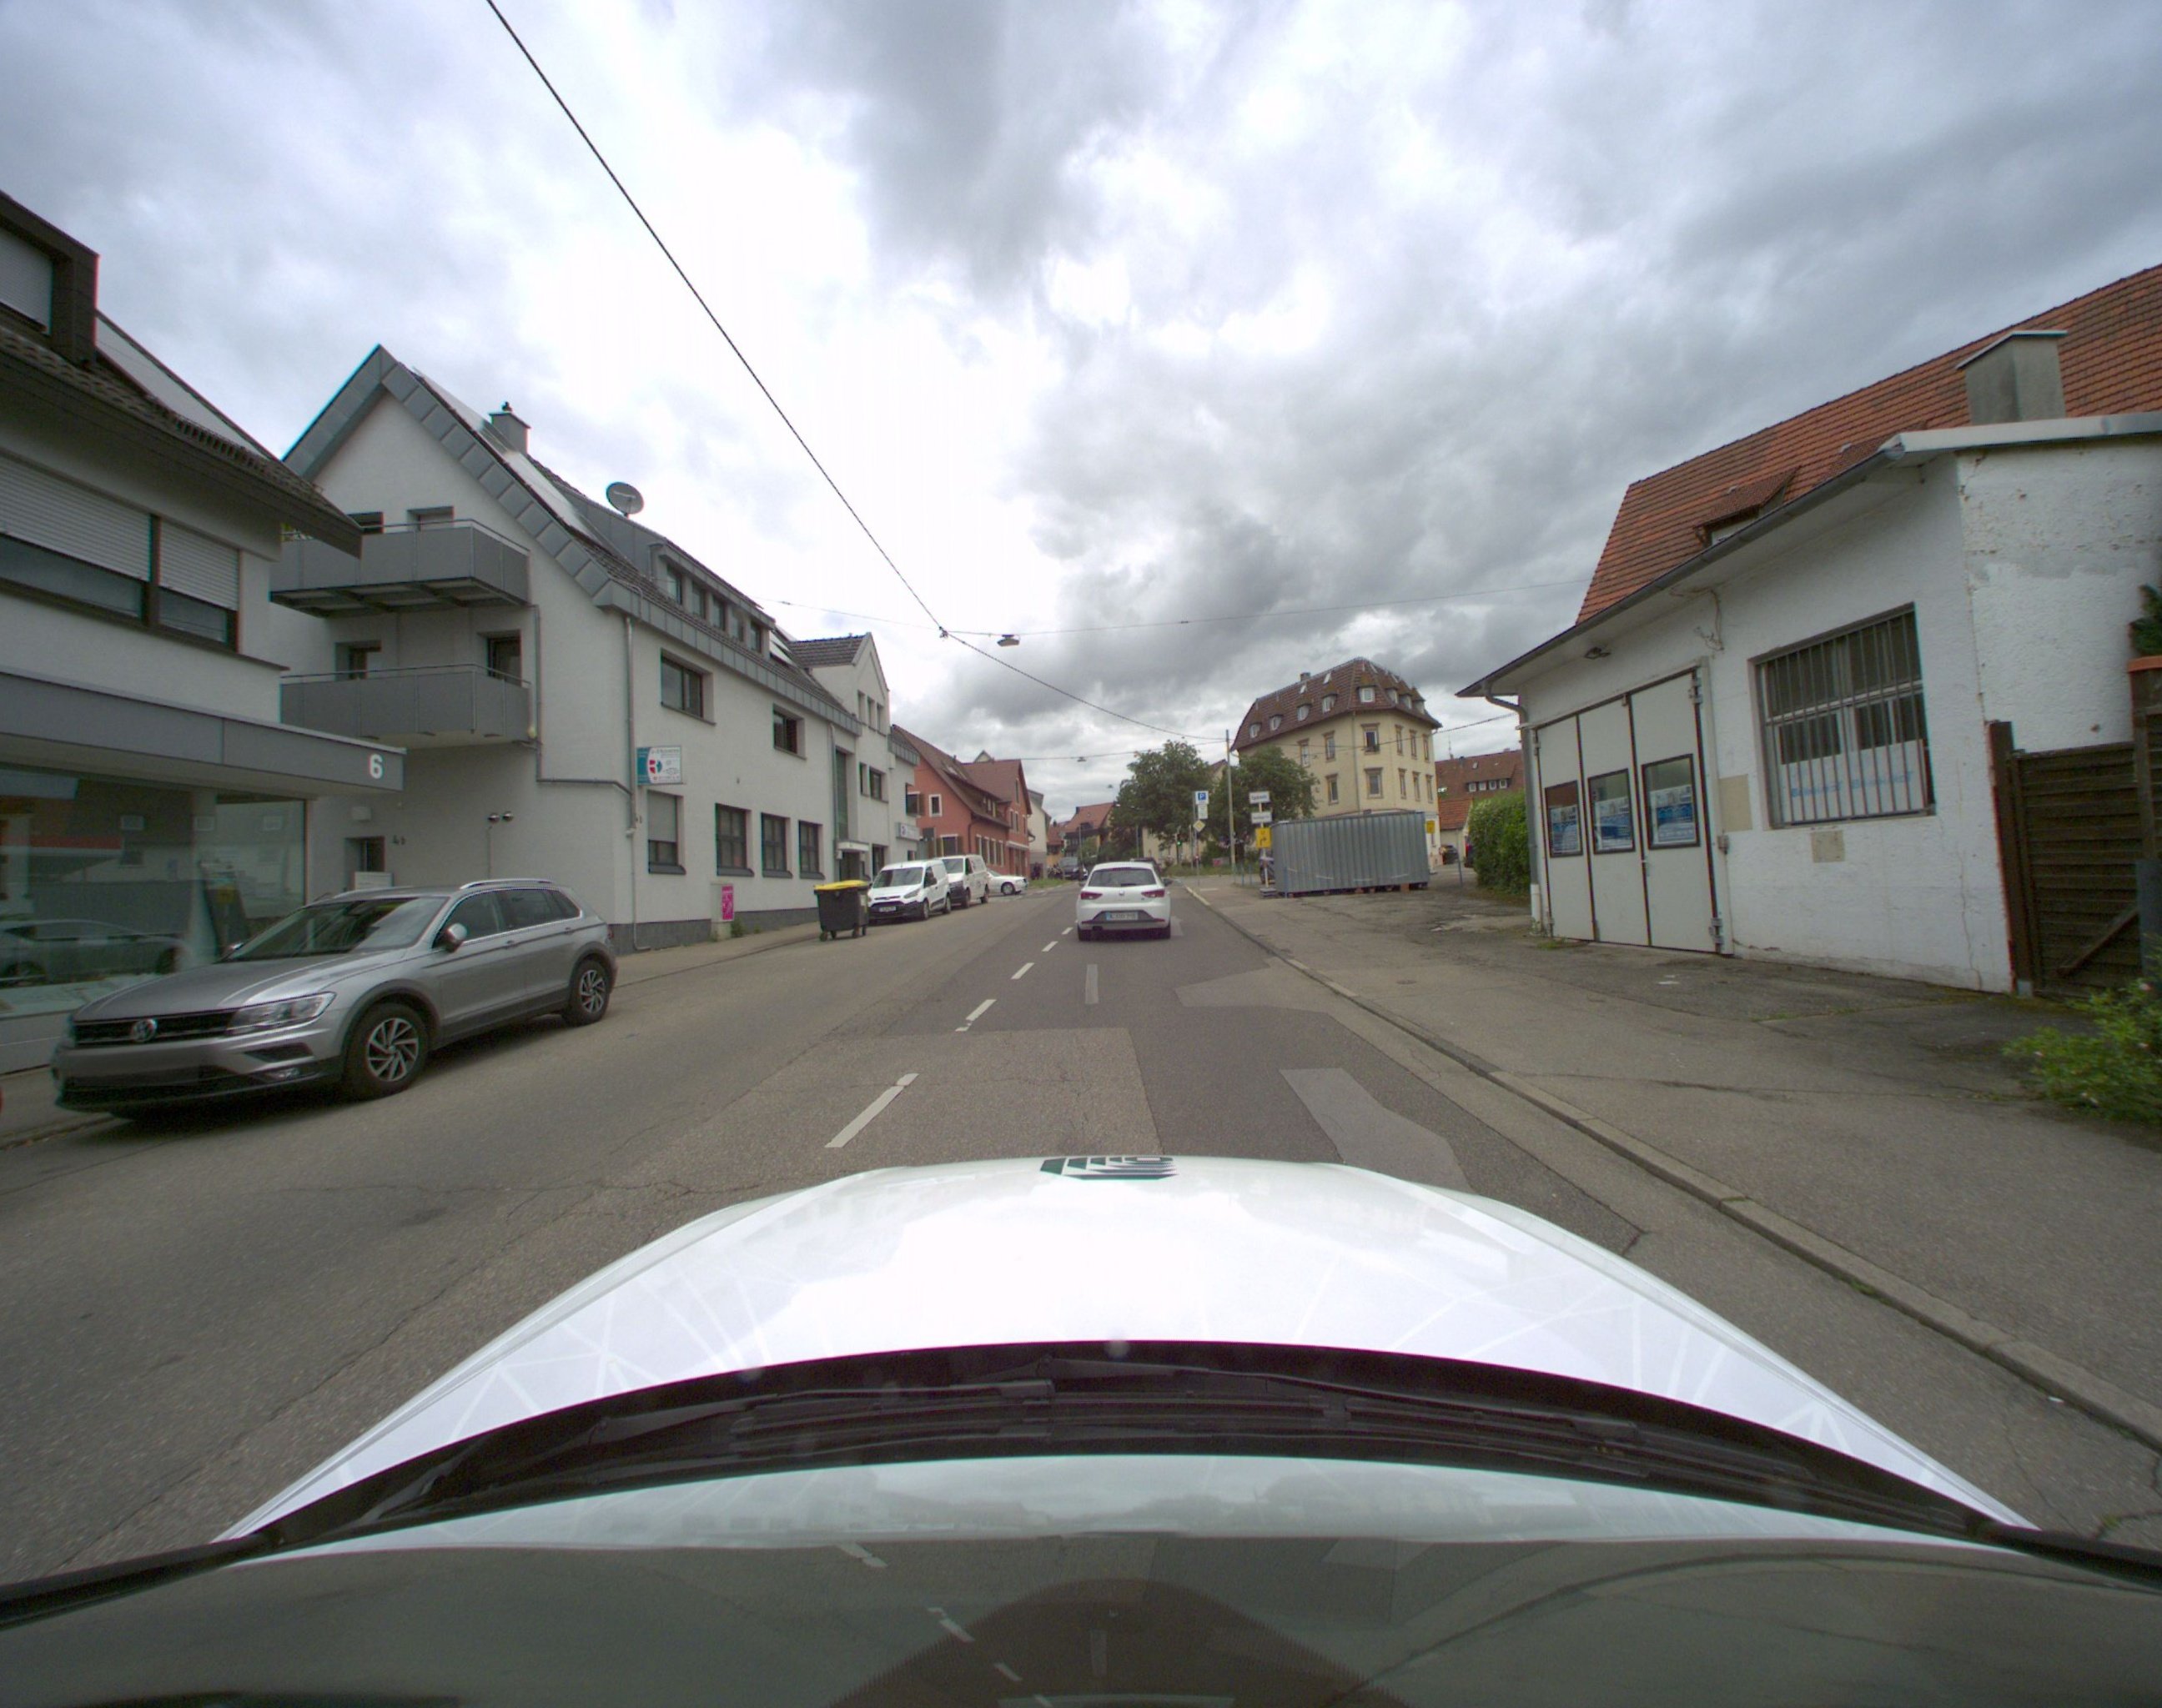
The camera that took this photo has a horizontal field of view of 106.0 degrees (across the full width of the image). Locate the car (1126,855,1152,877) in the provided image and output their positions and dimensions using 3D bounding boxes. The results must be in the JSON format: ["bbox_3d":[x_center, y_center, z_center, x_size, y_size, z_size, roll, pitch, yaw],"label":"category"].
[{"bbox_3d":[4.144,0.899,58.817,1.751,1.452,4.003,-3,-2,3],"label":"car"}]

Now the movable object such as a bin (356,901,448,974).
[{"bbox_3d":[-13.060,1.587,15.696,0.777,1.299,1.149,-1,-1,4],"label":"movable object such as a bin"}]

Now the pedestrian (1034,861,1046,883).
[{"bbox_3d":[-3.294,1.445,66.009,0.797,1.785,0.893,-2,-1,4],"label":"pedestrian"}]

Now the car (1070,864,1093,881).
[{"bbox_3d":[0.014,1.907,84.795,1.993,1.633,4.851,-2,-2,-3],"label":"car"}]

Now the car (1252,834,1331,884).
[{"bbox_3d":[8.358,0.216,32.796,1.742,1.739,4.567,-4,0,-2],"label":"car"}]

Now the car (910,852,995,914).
[{"bbox_3d":[-4.717,1.008,30.663,1.803,2.005,4.771,-5,0,6],"label":"car"}]

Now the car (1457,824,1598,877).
[{"bbox_3d":[15.683,-0.101,28.793,1.876,1.728,3.960,0,-1,-32],"label":"car"}]

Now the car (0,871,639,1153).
[{"bbox_3d":[-6.204,1.074,7.535,1.833,1.632,4.405,-4,0,-2],"label":"car"}]

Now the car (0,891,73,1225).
[{"bbox_3d":[-6.212,1.064,2.049,1.833,1.632,4.405,-4,0,-2],"label":"car"}]

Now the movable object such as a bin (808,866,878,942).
[{"bbox_3d":[-5.584,1.137,19.210,1.137,1.633,1.561,-4,0,-2],"label":"movable object such as a bin"}]

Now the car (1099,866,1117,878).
[{"bbox_3d":[3.631,2.462,110.139,1.759,1.452,3.985,0,-2,-10],"label":"car"}]

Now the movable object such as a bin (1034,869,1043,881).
[{"bbox_3d":[-3.857,1.920,73.449,0.663,1.018,0.795,-3,-1,1],"label":"movable object such as a bin"}]

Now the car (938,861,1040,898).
[{"bbox_3d":[-4.515,1.235,40.196,4.529,1.445,2.004,-5,-1,7],"label":"car"}]

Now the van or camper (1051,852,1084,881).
[{"bbox_3d":[-1.034,1.014,65.037,2.064,2.006,4.862,-5,-3,4],"label":"van or camper"}]

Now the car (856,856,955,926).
[{"bbox_3d":[-5.299,1.058,25.201,1.726,1.831,4.302,-5,0,4],"label":"car"}]

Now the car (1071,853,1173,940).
[{"bbox_3d":[0.906,0.771,16.427,1.750,1.452,4.006,-3,-1,5],"label":"car"}]

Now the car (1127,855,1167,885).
[{"bbox_3d":[3.533,0.896,44.336,1.753,1.452,3.998,-2,-2,-1],"label":"car"}]
